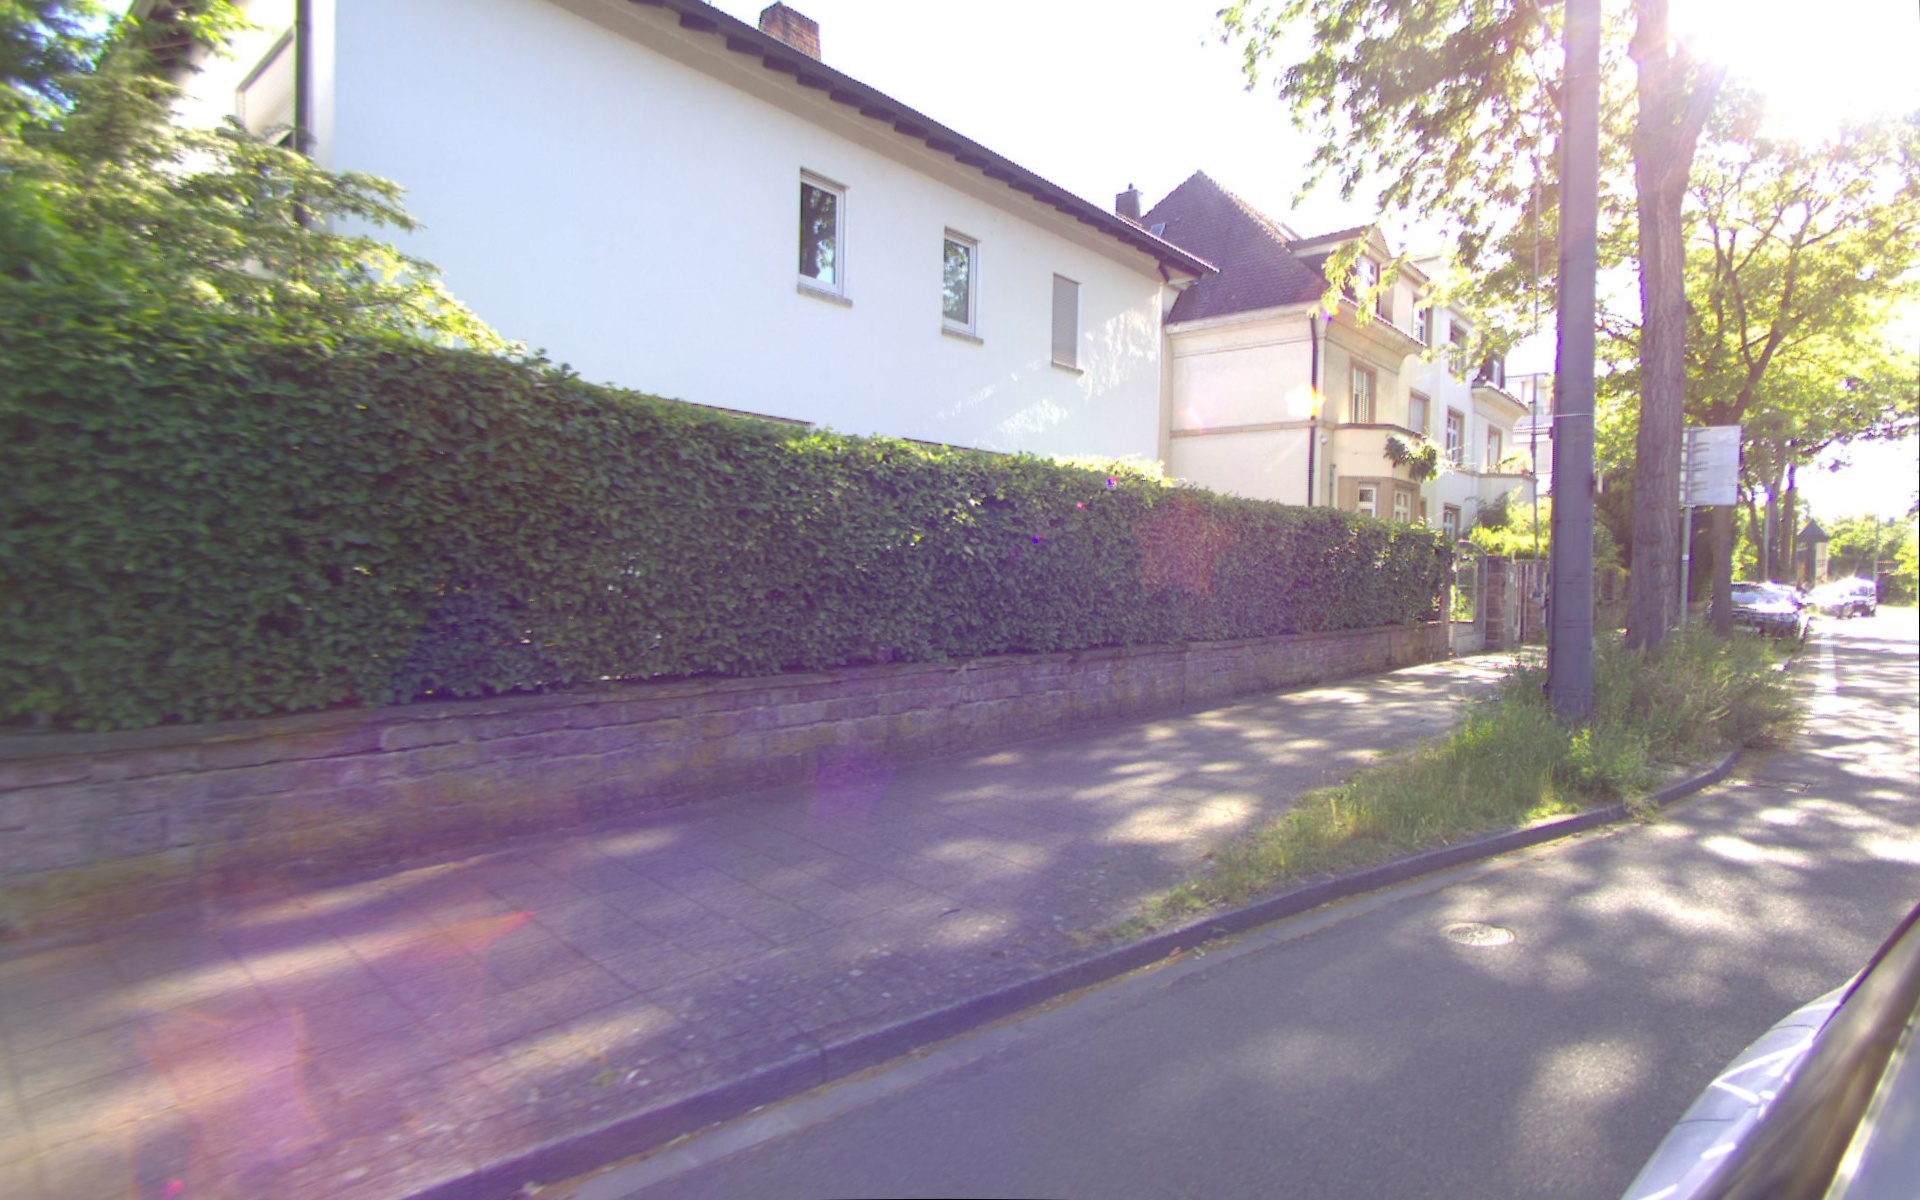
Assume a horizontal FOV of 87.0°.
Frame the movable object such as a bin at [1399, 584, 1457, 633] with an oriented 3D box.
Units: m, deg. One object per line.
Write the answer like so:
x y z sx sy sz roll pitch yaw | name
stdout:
10.669 0.177 23.074 0.712 1.068 0.969 0 1 -22 | movable object such as a bin

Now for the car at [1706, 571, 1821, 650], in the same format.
20.045 0.179 25.198 1.992 1.765 4.108 2 2 42 | car

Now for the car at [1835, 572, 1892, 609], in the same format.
47.835 -0.554 53.580 4.178 1.852 1.902 -1 2 -43 | car

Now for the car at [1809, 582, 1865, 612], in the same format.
42.978 -0.193 49.563 3.853 1.356 1.717 -1 2 -44 | car
